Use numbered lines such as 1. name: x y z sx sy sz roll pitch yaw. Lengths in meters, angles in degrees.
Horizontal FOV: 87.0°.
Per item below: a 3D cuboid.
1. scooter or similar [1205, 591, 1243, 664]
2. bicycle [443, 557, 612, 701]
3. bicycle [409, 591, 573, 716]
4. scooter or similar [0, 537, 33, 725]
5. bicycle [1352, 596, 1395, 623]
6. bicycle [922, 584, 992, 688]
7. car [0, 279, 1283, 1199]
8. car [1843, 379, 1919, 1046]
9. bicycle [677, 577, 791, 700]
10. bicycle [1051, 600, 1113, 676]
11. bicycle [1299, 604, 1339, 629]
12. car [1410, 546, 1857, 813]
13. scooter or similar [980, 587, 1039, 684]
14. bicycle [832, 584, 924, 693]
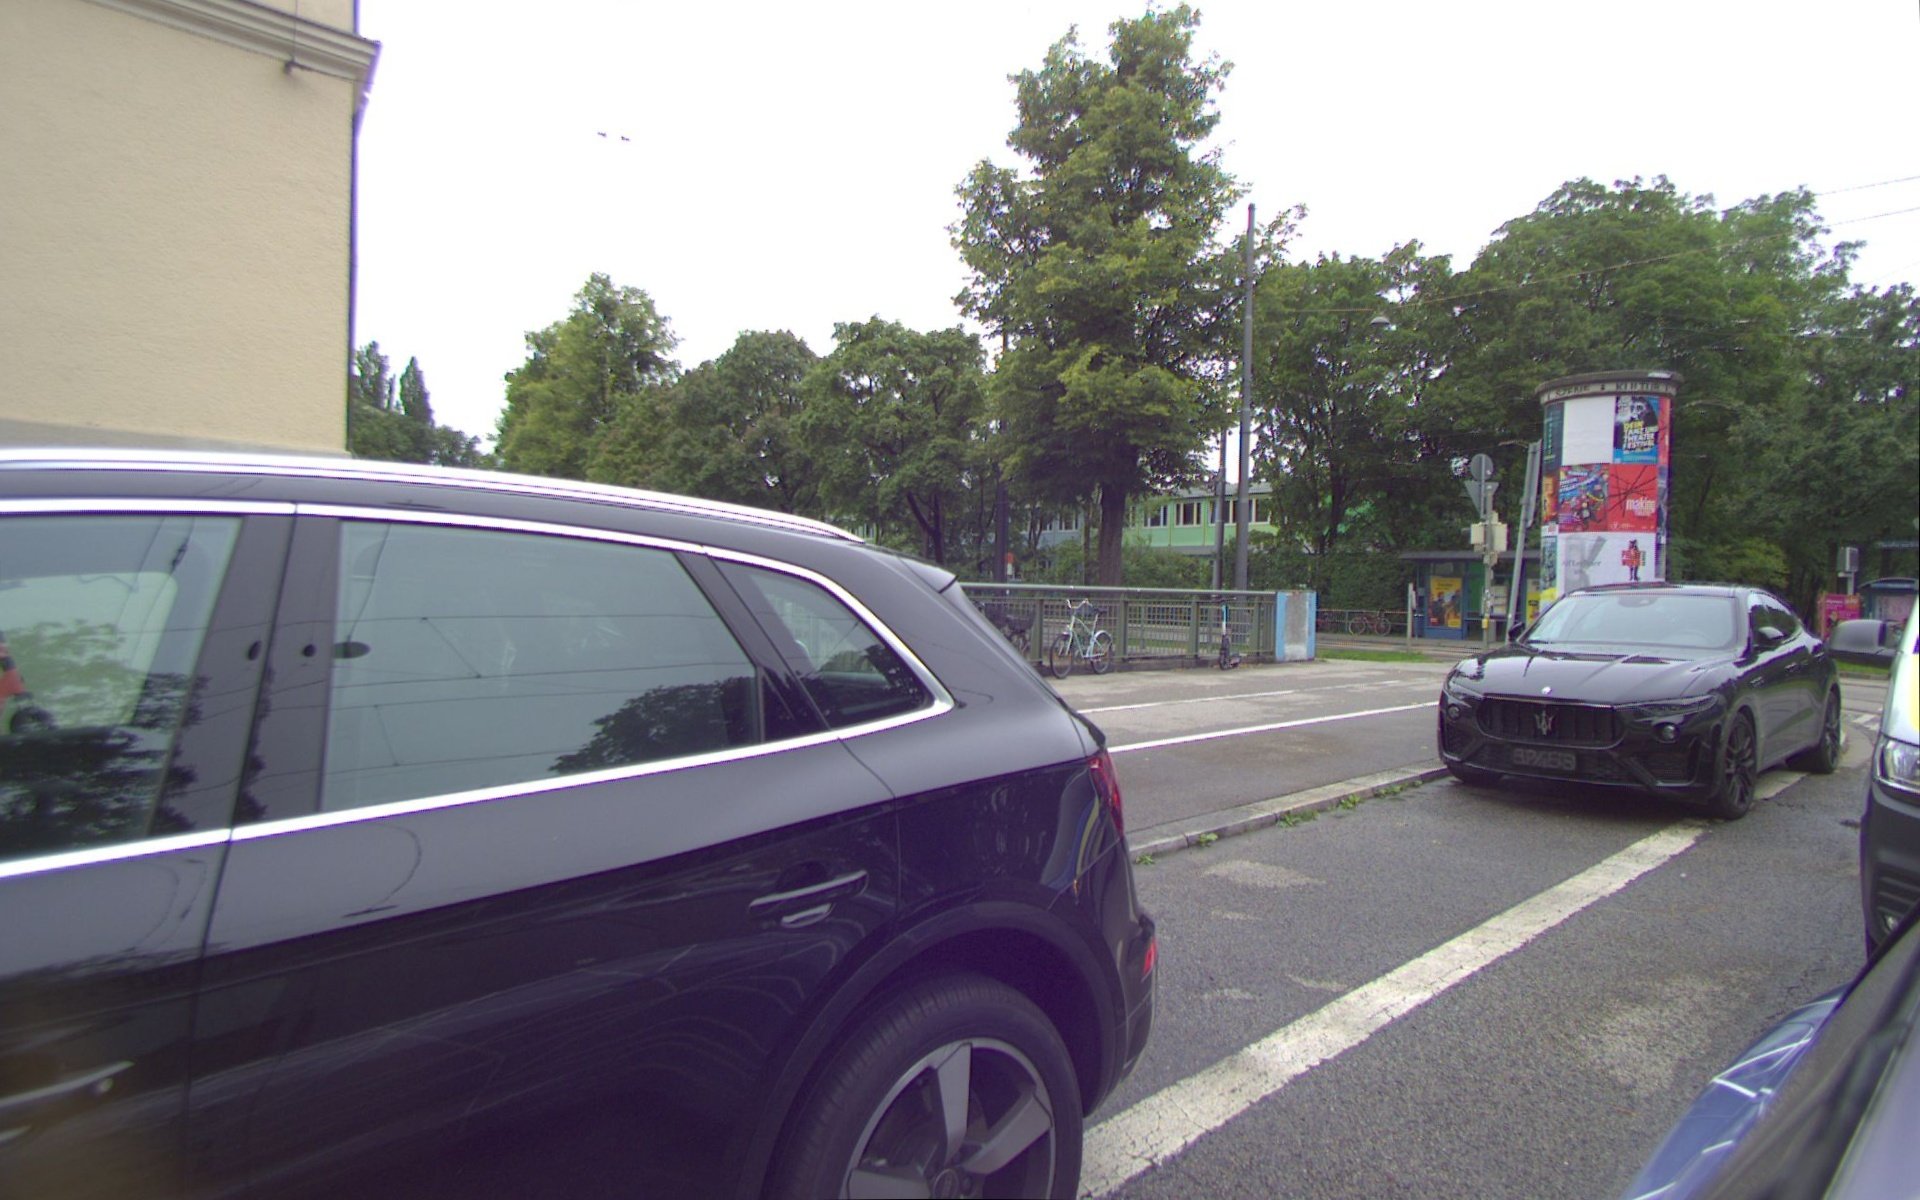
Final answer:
1. scooter or similar: 4.565 0.462 17.481 0.224 1.227 1.006 -1 -1 40
2. bicycle: -4.228 0.268 9.969 1.511 1.329 0.332 0 -1 -42
3. bicycle: -4.455 0.476 9.681 0.286 1.120 1.421 1 0 42
4. scooter or similar: -7.137 0.219 6.946 0.261 1.329 1.125 -1 -1 42
5. bicycle: 15.530 0.345 38.046 0.366 0.964 1.483 0 1 -38
6. bicycle: -0.022 0.447 13.359 0.280 1.298 1.395 -1 -1 29
7. car: -1.450 0.518 1.741 4.408 1.679 1.778 0 0 -40
8. car: 5.579 0.371 4.474 5.612 2.078 1.901 0 1 -43
9. bicycle: -2.503 0.411 11.324 0.281 1.298 1.391 -1 -1 38
10. bicycle: 1.851 0.542 15.239 0.263 1.096 1.524 -1 -1 34
11. bicycle: 14.110 0.641 39.806 0.366 0.964 1.483 0 1 -38
12. car: 5.752 0.514 8.397 4.582 1.630 1.904 1 -1 -40
13. scooter or similar: 0.707 0.464 14.006 0.242 1.279 1.482 -1 0 27
14. bicycle: -1.007 0.453 12.677 0.281 1.298 1.391 -1 -1 38
